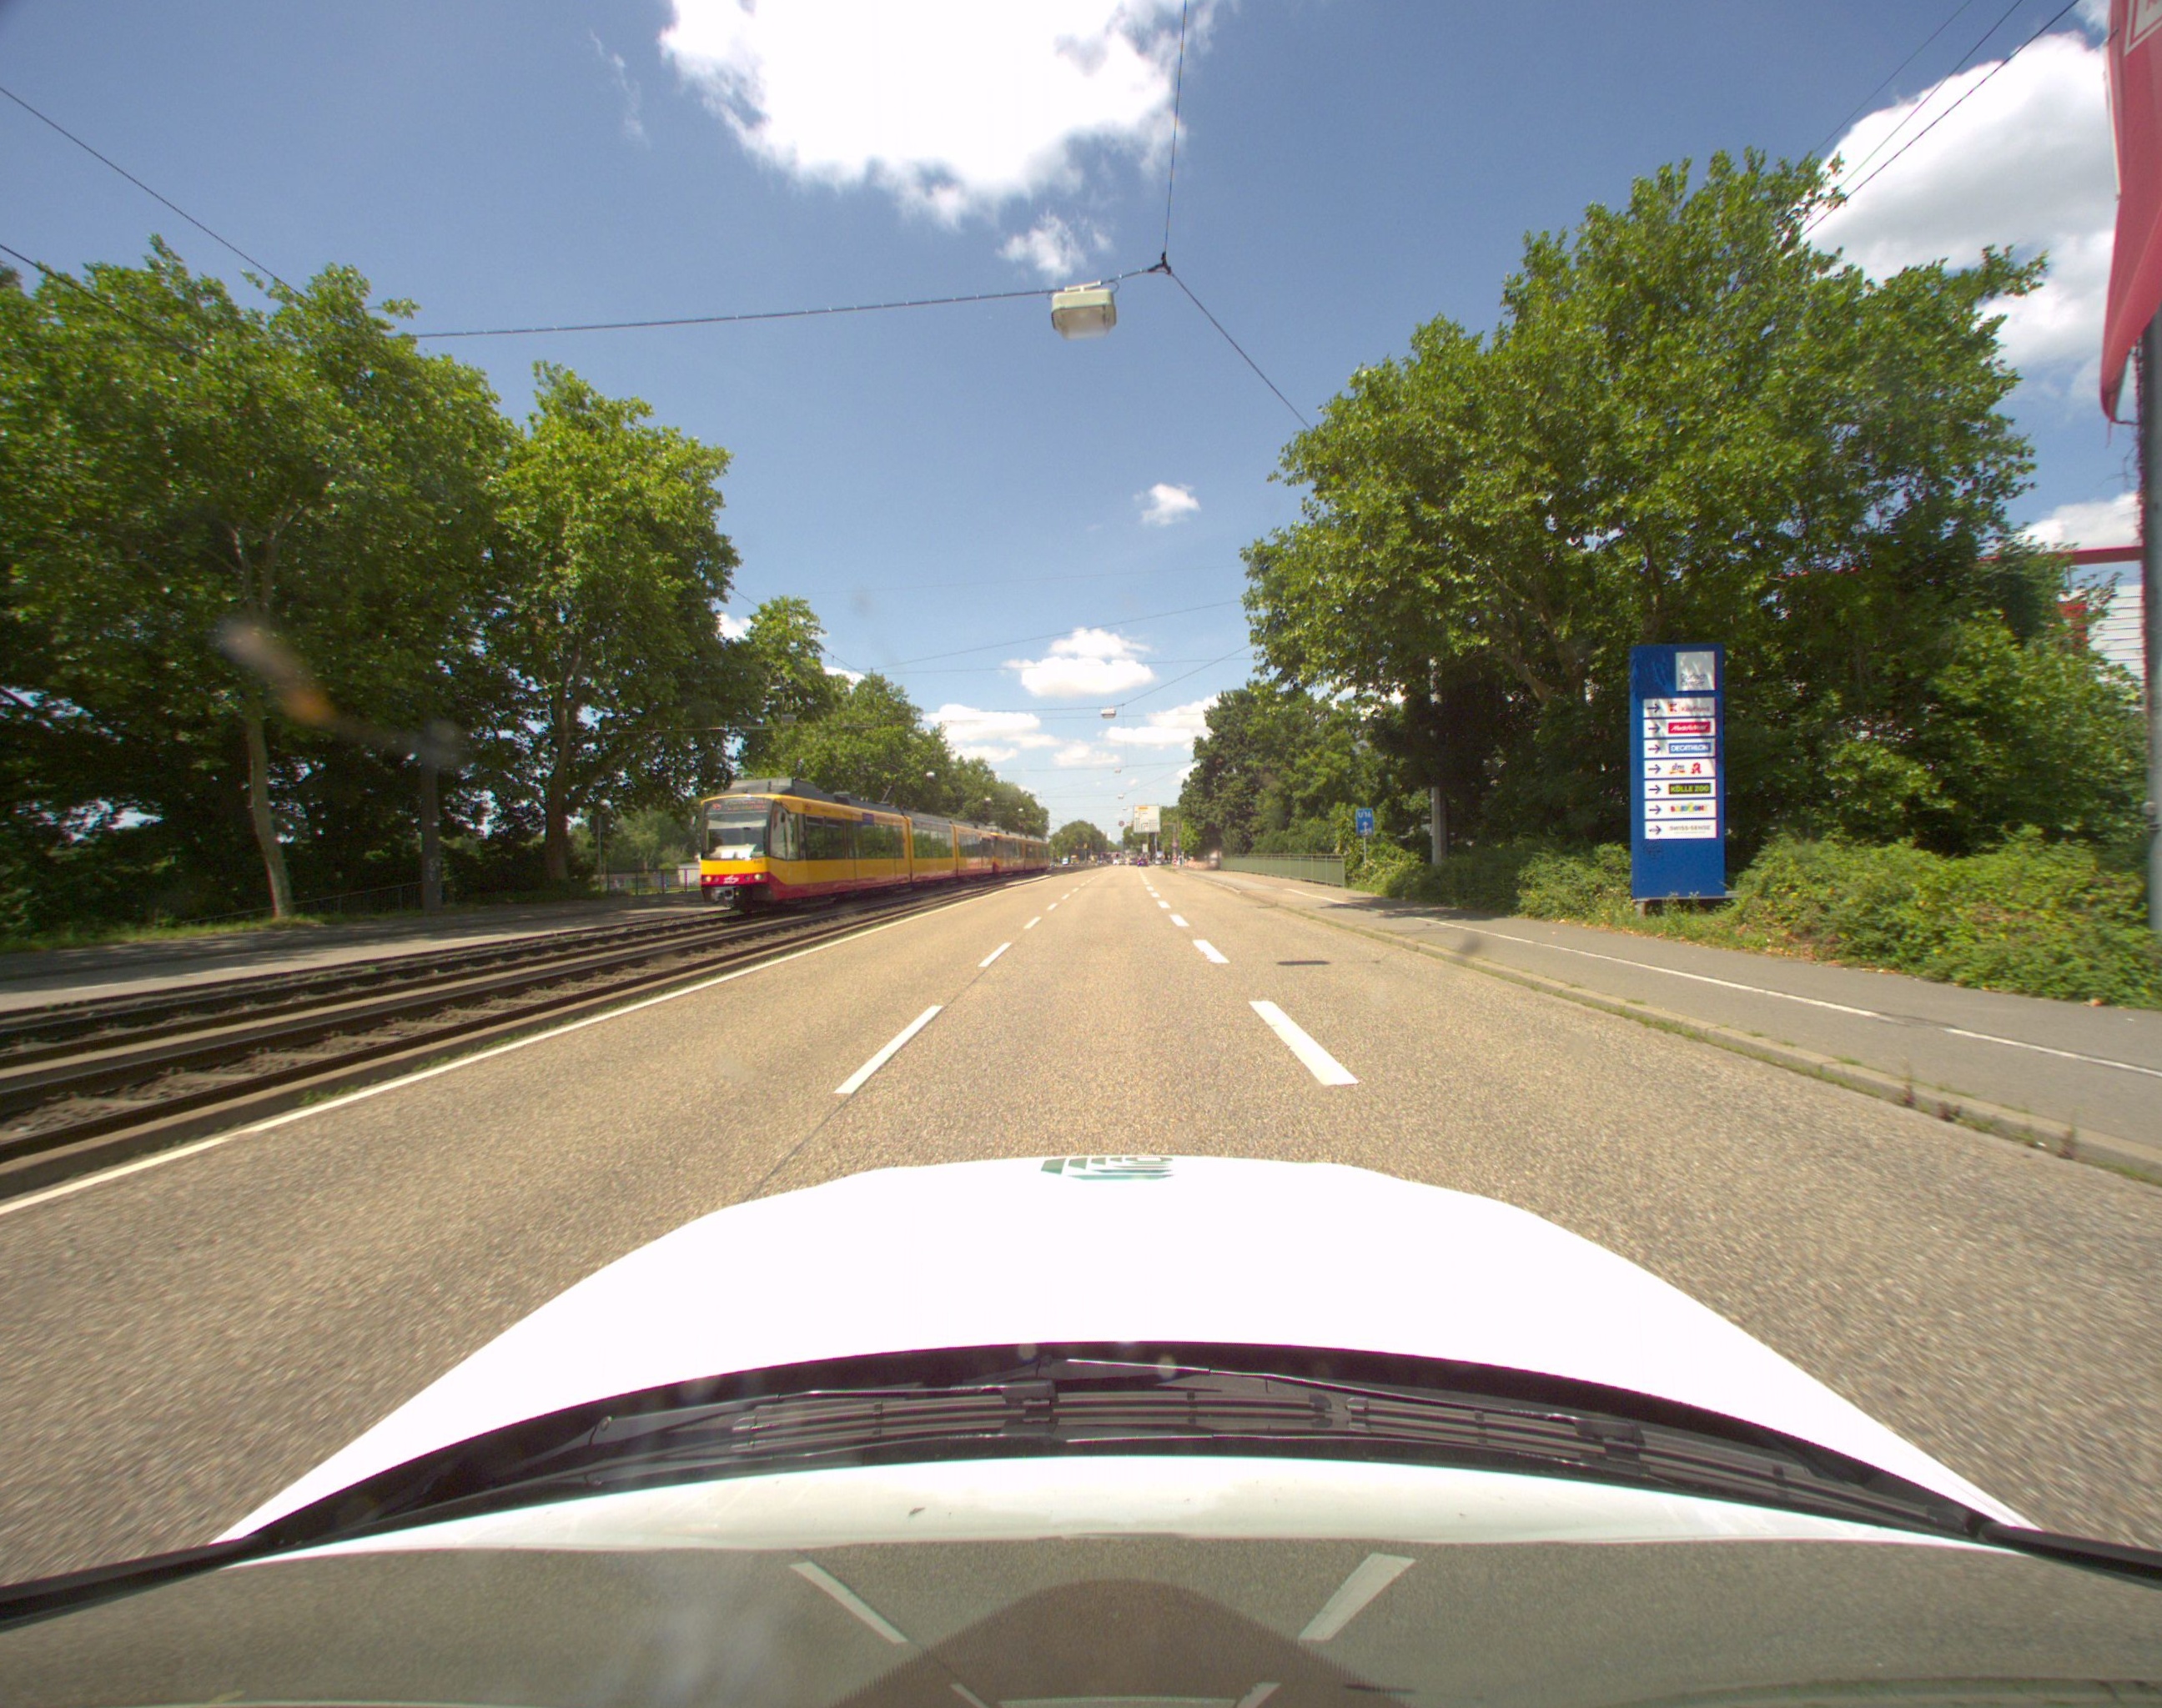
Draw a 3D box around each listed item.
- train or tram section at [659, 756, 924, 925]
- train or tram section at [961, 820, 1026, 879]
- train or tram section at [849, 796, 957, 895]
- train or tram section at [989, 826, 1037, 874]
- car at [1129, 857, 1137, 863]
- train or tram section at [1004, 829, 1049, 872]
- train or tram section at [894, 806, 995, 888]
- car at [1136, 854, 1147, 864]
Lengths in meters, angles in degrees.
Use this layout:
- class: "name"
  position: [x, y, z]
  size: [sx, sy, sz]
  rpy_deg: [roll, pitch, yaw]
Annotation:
- class: "train or tram section"
  position: [-8.957, -0.347, 28.672]
  size: [3.036, 4.267, 15.432]
  rpy_deg: [-2, 0, 3]
- class: "train or tram section"
  position: [-6.811, -0.323, 65.631]
  size: [3.026, 4.154, 13.491]
  rpy_deg: [-2, 0, 3]
- class: "train or tram section"
  position: [-8.439, -0.369, 39.844]
  size: [3.036, 4.267, 8.008]
  rpy_deg: [-2, 0, 3]
- class: "train or tram section"
  position: [-6.263, -0.337, 76.756]
  size: [3.025, 4.148, 10.241]
  rpy_deg: [-2, 0, 3]
- class: "car"
  position: [12.998, 1.506, 202.970]
  size: [1.868, 1.539, 3.779]
  rpy_deg: [0, 0, 2]
- class: "train or tram section"
  position: [-5.691, -0.350, 87.953]
  size: [3.025, 4.140, 13.991]
  rpy_deg: [-2, 0, 3]
- class: "train or tram section"
  position: [-7.962, -0.391, 50.135]
  size: [3.036, 4.267, 14.046]
  rpy_deg: [-2, 0, 3]
- class: "car"
  position: [10.567, 0.874, 142.118]
  size: [1.892, 1.805, 3.979]
  rpy_deg: [0, 0, 2]
